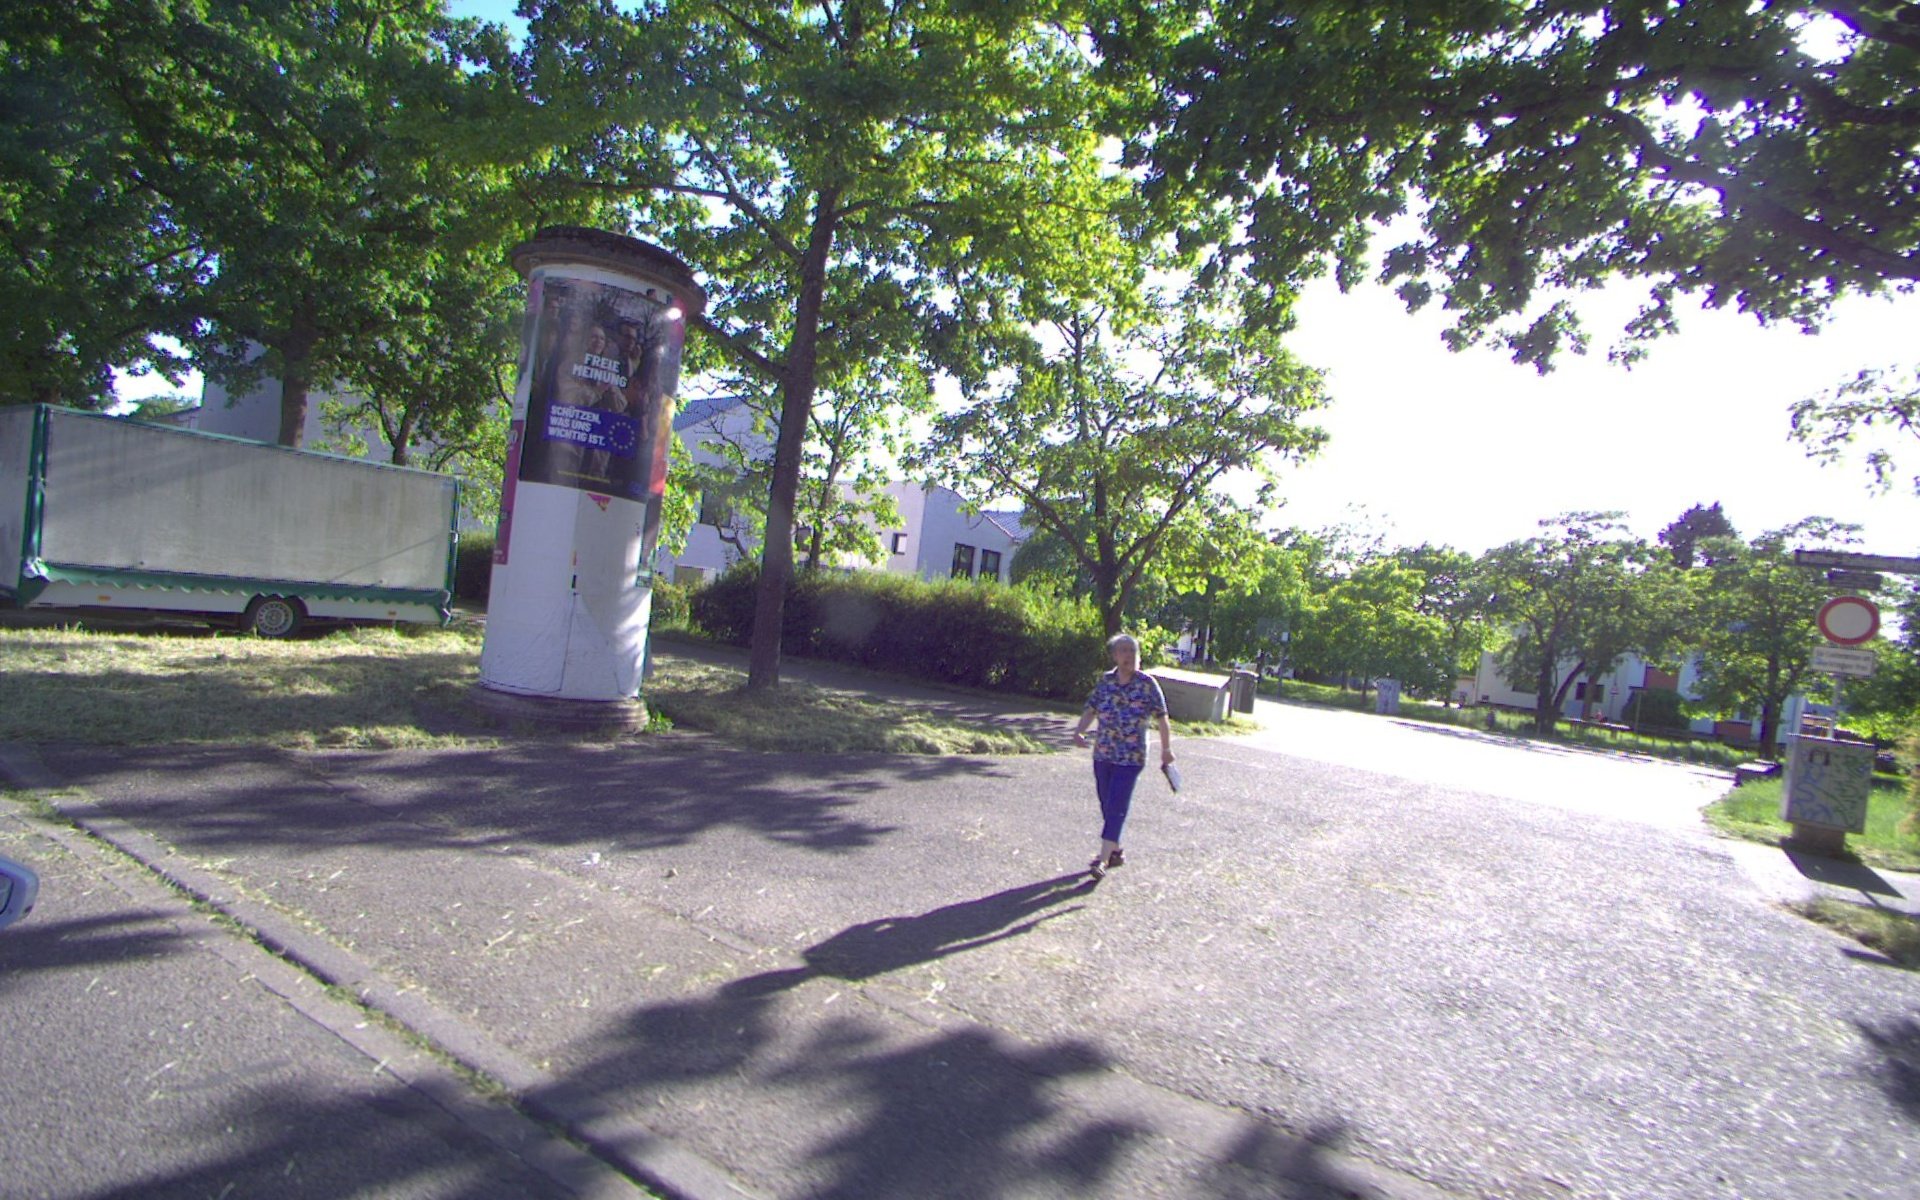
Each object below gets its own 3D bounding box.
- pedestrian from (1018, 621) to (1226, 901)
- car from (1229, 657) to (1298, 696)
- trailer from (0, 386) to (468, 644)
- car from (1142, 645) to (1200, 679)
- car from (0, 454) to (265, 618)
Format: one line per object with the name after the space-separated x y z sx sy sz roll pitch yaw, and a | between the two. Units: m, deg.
1.049 0.959 6.408 0.870 1.519 0.941 8 1 29 | pedestrian
26.152 6.580 86.875 2.321 2.640 5.432 8 -2 -27 | car
-8.927 -0.836 11.460 1.659 2.347 5.777 7 1 33 | trailer
20.520 5.999 98.171 2.321 2.640 5.432 8 -2 -27 | car
-11.619 -0.866 12.313 1.955 1.744 4.645 7 1 32 | car
